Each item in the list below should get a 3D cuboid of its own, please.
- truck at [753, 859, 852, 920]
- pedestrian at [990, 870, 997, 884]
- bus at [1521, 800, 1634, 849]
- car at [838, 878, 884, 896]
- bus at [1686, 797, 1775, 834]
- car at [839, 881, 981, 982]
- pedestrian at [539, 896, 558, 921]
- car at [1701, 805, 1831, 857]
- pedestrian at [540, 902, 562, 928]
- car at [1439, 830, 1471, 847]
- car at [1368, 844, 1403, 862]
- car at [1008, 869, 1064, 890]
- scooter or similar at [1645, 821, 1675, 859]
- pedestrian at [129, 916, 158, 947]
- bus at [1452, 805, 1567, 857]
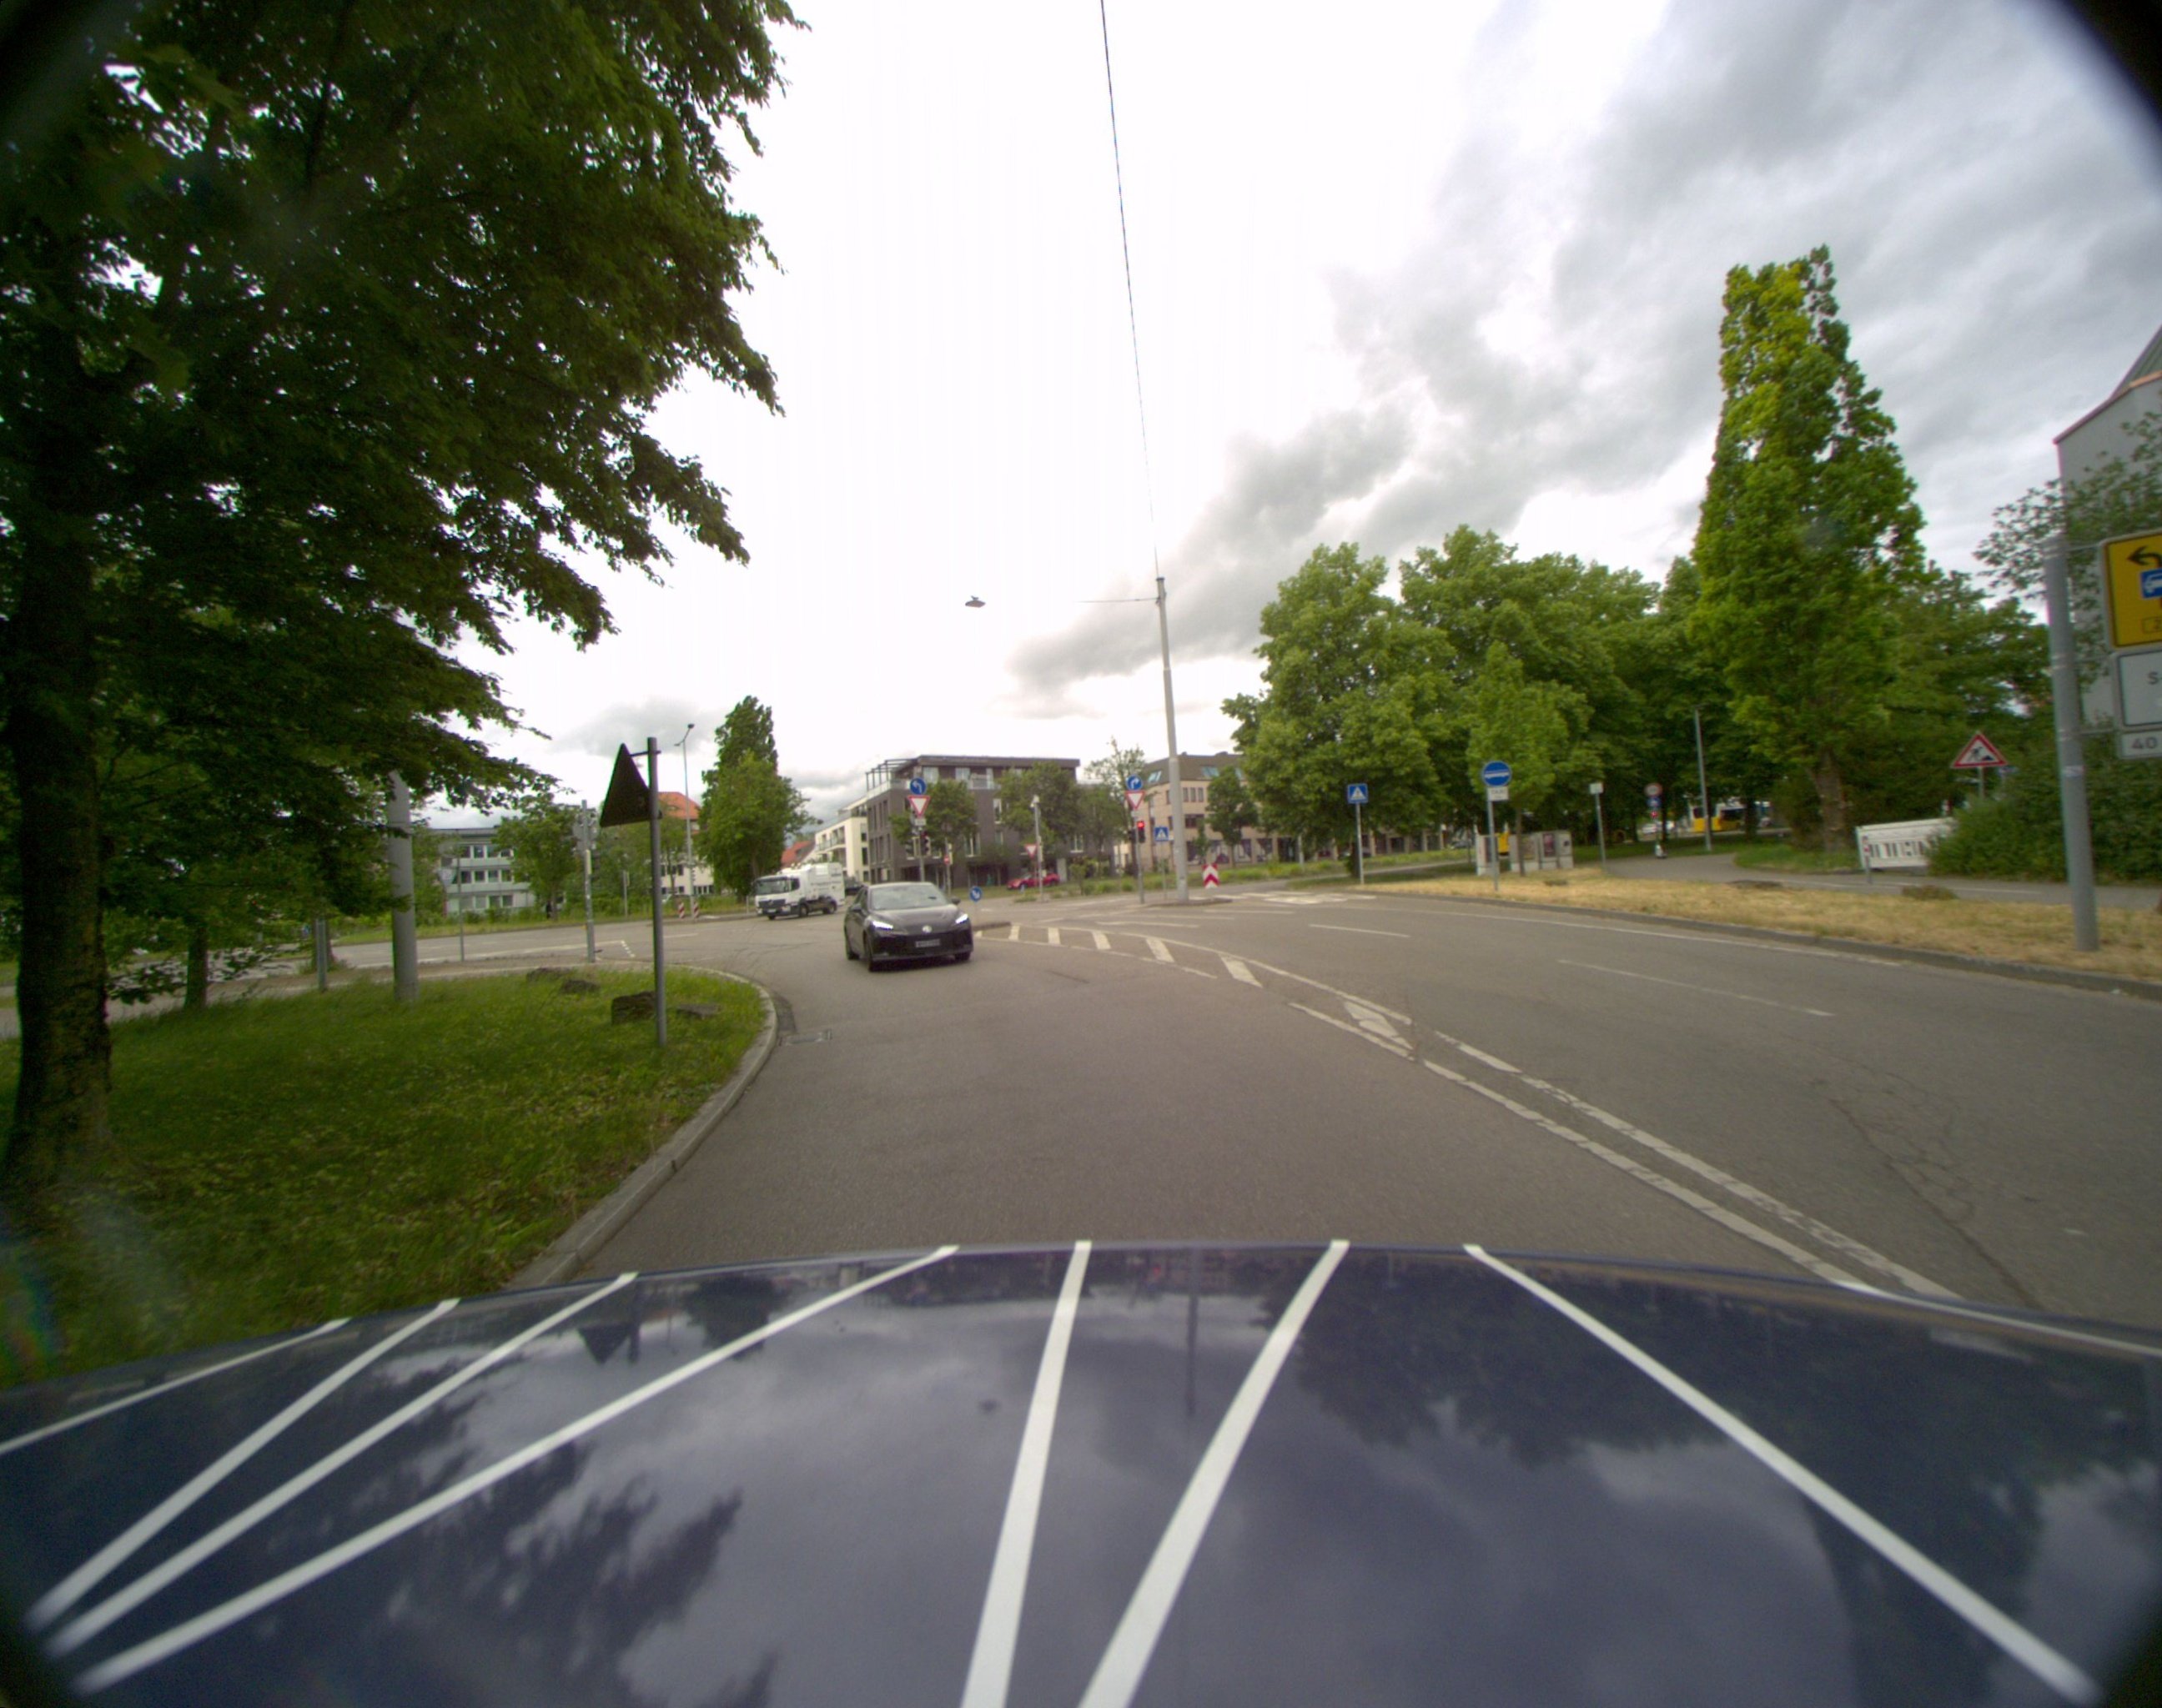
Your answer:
[{"bbox_3d":[-16.567,2.000,45.731,2.434,3.176,6.471,-3,0,10],"label":"truck"},{"bbox_3d":[-8.598,2.259,74.945,0.535,1.349,0.658,-6,-1,-10],"label":"pedestrian"},{"bbox_3d":[39.120,-2.363,59.707,9.708,2.990,3.048,-5,-2,-29],"label":"bus"},{"bbox_3d":[-22.634,3.376,78.256,4.131,1.591,1.997,-2,-3,-30],"label":"car"},{"bbox_3d":[68.604,-4.133,80.183,10.242,2.990,3.291,-5,-2,-27],"label":"bus"},{"bbox_3d":[-3.390,1.373,14.446,1.803,1.474,4.014,-5,-1,-24],"label":"car"},{"bbox_3d":[-37.830,3.866,53.980,0.615,1.685,0.834,-7,-1,42],"label":"pedestrian"},{"bbox_3d":[25.939,-0.875,28.793,3.951,1.659,1.646,-4,0,-14],"label":"car"},{"bbox_3d":[-37.206,4.303,53.320,0.607,1.685,1.005,-7,-2,42],"label":"pedestrian"},{"bbox_3d":[50.706,-2.134,102.915,4.006,1.804,1.996,-5,-2,-35],"label":"car"},{"bbox_3d":[37.974,-0.166,94.584,4.006,1.804,1.996,-5,-2,-35],"label":"car"},{"bbox_3d":[-3.783,2.118,64.107,4.385,1.476,1.822,-2,-4,-34],"label":"car"},{"bbox_3d":[23.501,-0.560,30.860,0.554,1.437,1.595,-7,-1,26],"label":"scooter or similar"},{"bbox_3d":[-52.189,4.308,42.296,0.708,1.616,0.565,-6,-1,-9],"label":"pedestrian"},{"bbox_3d":[31.231,-1.701,55.273,8.440,2.990,3.048,-5,-2,-29],"label":"bus"}]
